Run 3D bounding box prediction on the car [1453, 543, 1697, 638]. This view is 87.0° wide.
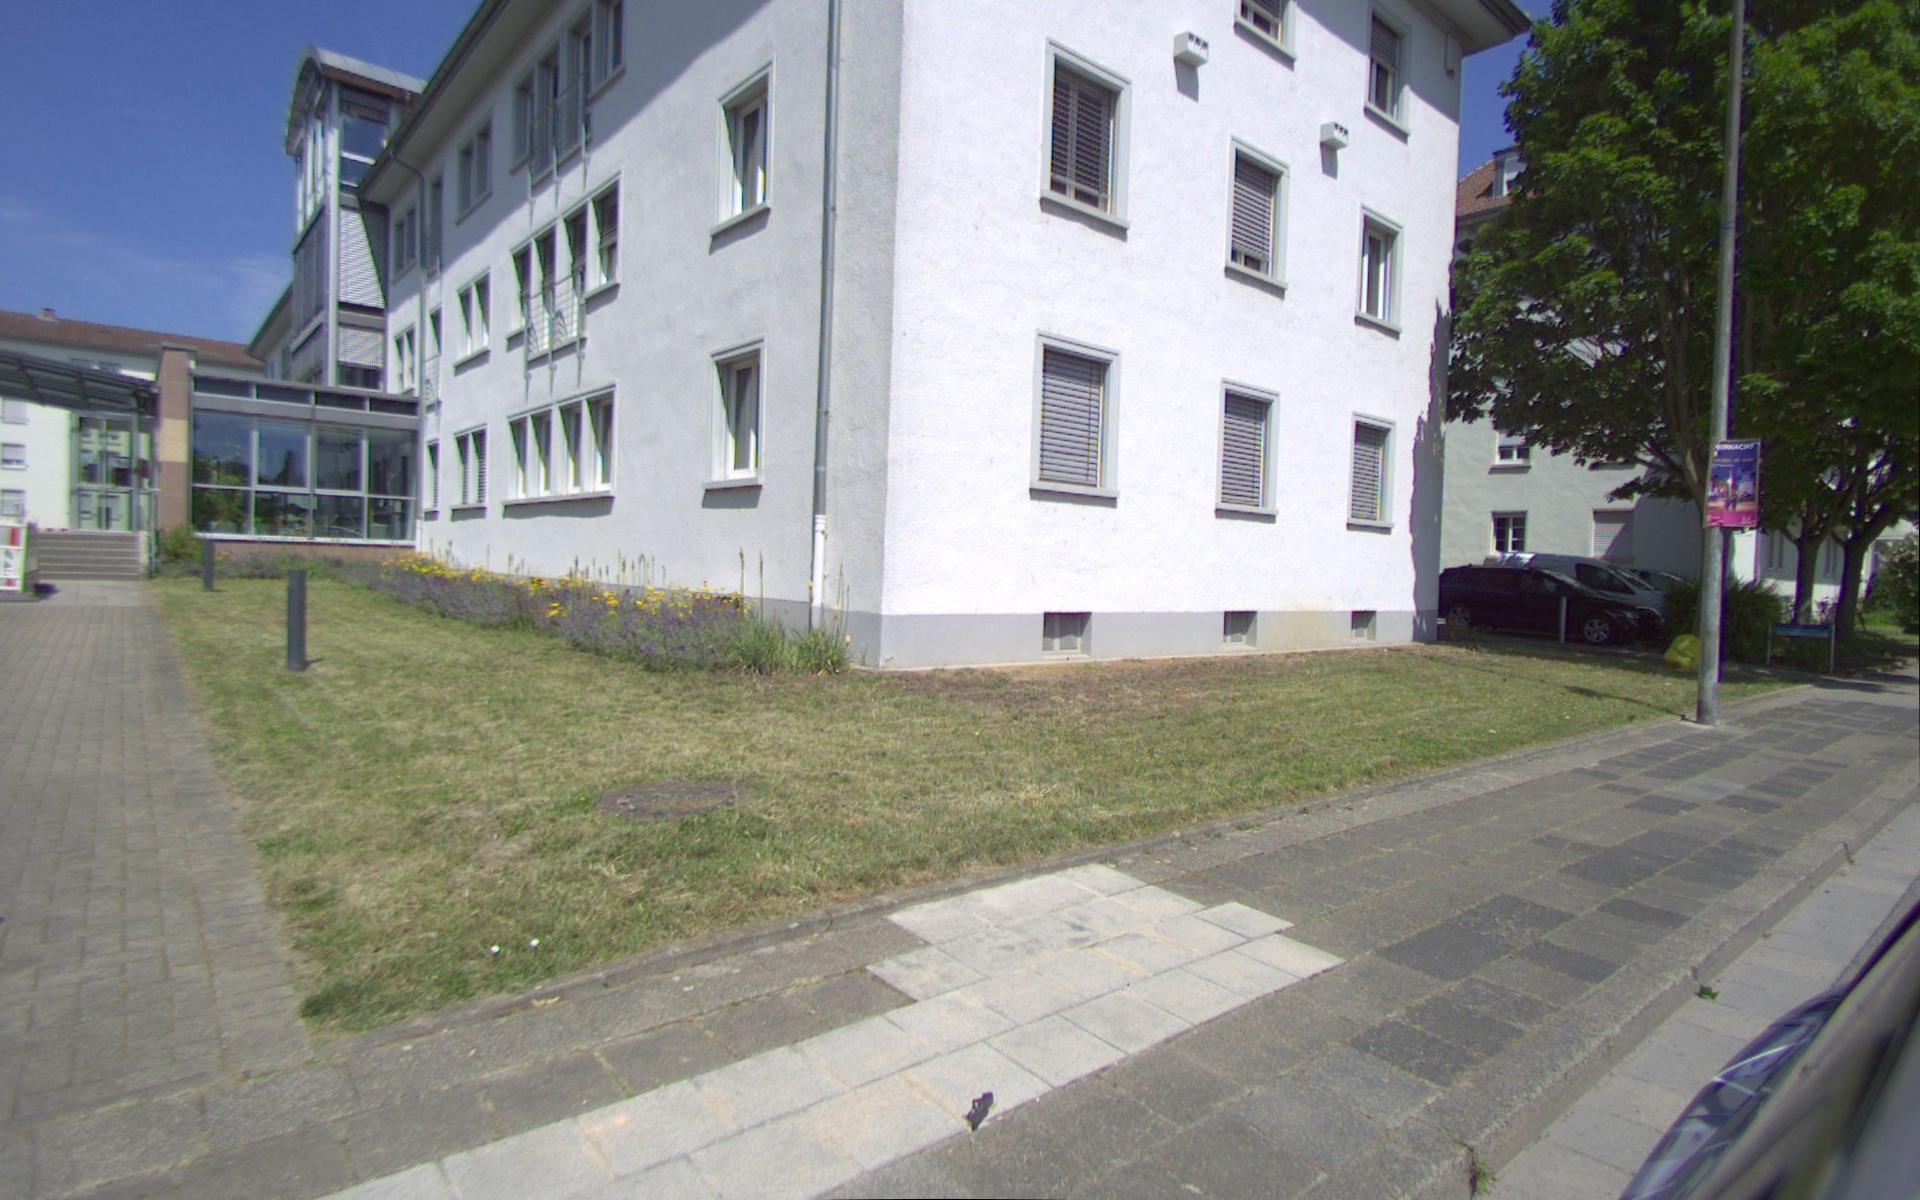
[{"bbox_3d":[14.101,-0.283,23.398,1.966,1.808,4.364,0,4,-42],"label":"car"}]

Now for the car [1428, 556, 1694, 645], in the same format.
[{"bbox_3d":[12.474,-0.064,21.232,1.966,1.452,4.364,0,5,-42],"label":"car"}]

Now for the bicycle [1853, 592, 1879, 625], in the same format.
[{"bbox_3d":[30.446,0.275,34.004,1.495,1.069,0.407,0,2,-40],"label":"bicycle"}]

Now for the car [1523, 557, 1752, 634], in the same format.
[{"bbox_3d":[16.915,-0.170,25.440,1.966,1.544,4.364,0,5,-42],"label":"car"}]
